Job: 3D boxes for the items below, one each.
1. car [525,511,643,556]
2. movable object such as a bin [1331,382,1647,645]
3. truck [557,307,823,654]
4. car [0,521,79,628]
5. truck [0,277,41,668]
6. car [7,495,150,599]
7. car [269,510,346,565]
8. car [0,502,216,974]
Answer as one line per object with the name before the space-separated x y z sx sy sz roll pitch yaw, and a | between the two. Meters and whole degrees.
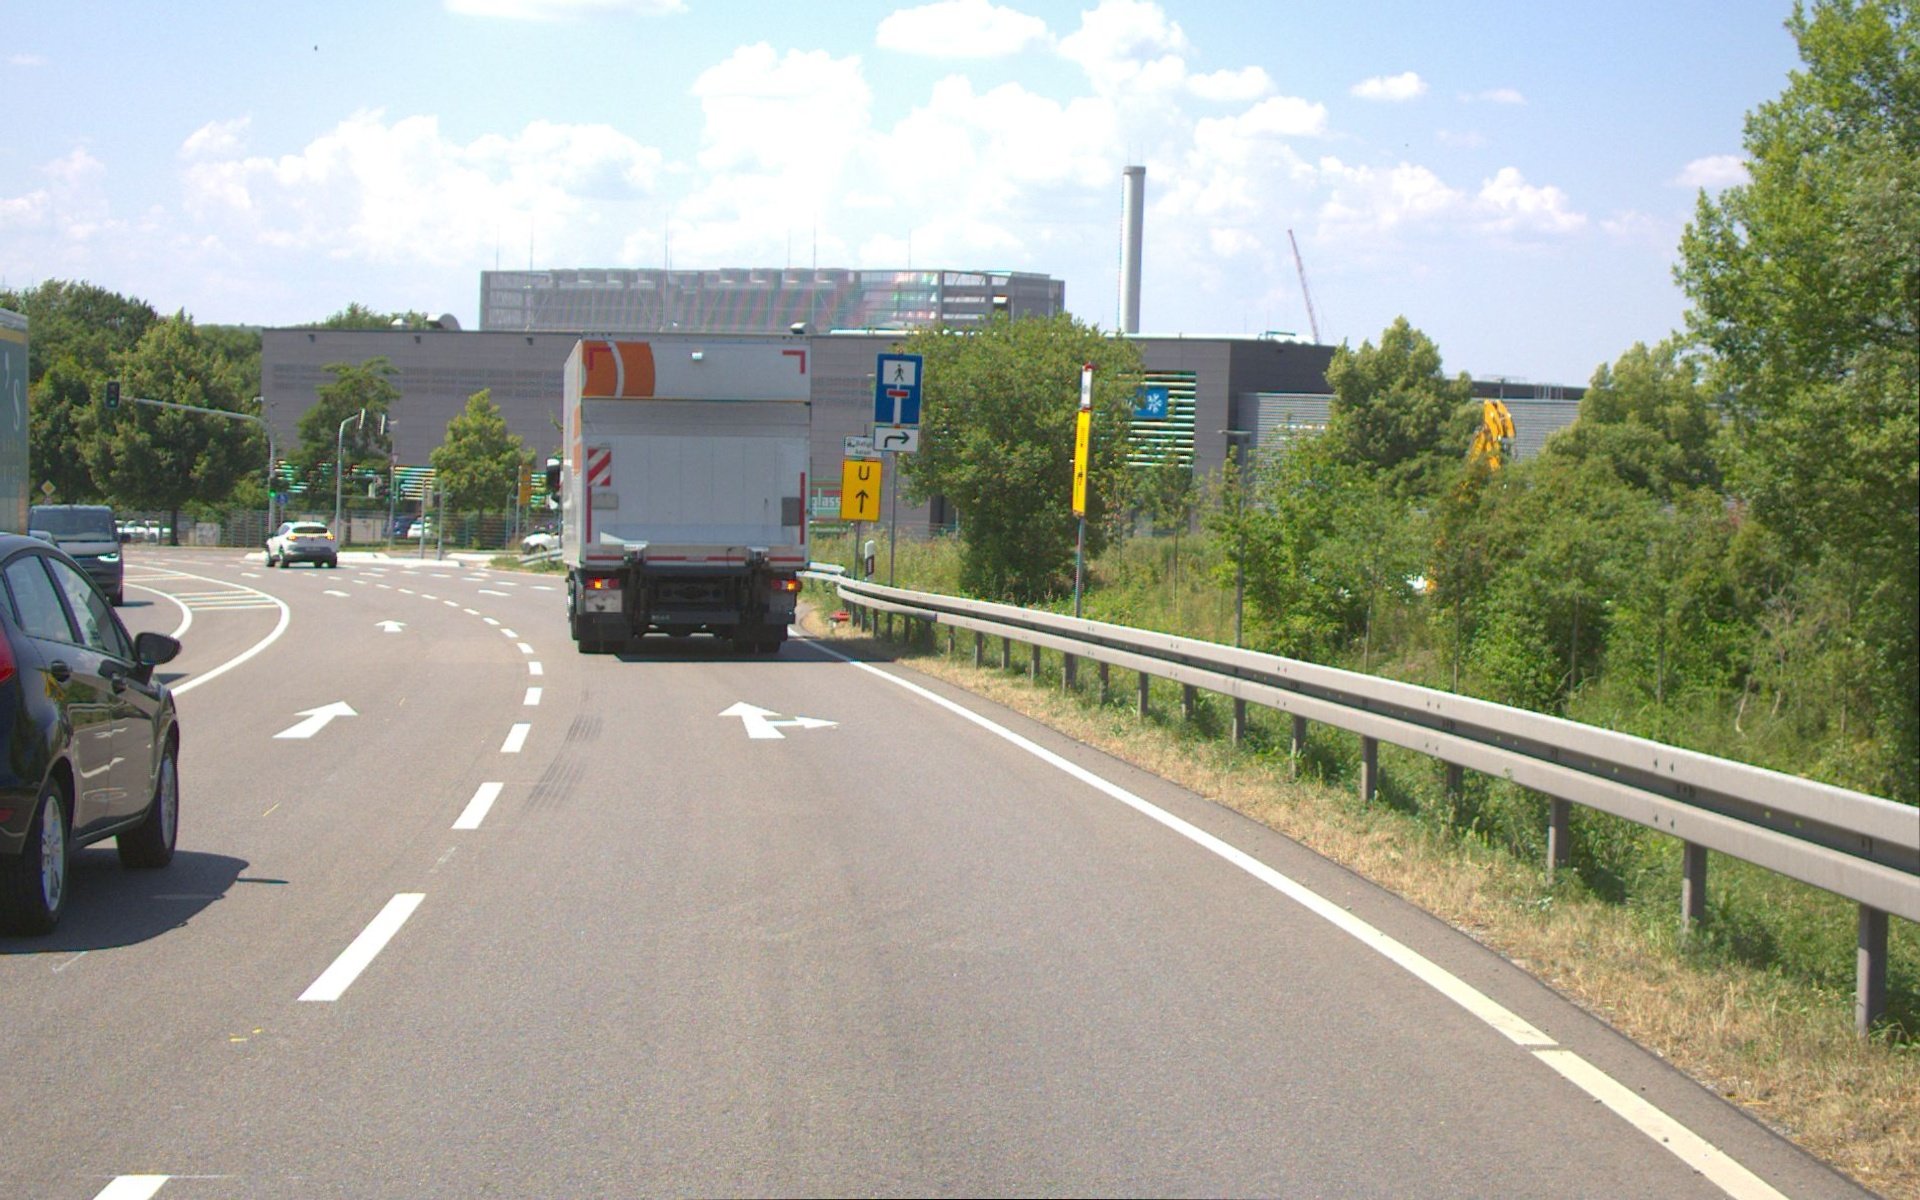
car | -16.379 -2.900 149.953 4.746 1.925 2.153 1 1 6
movable object such as a bin | 11.430 -2.053 75.587 3.423 5.242 9.233 2 3 -13
truck | -3.375 -1.448 41.843 2.803 3.698 9.110 1 2 -6
car | -13.470 -0.391 48.206 1.876 1.437 4.331 0 1 -11
truck | -9.922 -1.119 29.364 2.868 3.562 9.433 0 1 -8
car | -16.727 -1.052 65.457 1.993 1.888 5.105 0 2 -7
car | -21.577 -2.076 113.577 1.943 1.658 4.002 3 1 -17
car | -4.084 0.395 13.541 1.653 1.488 4.209 1 2 -4
